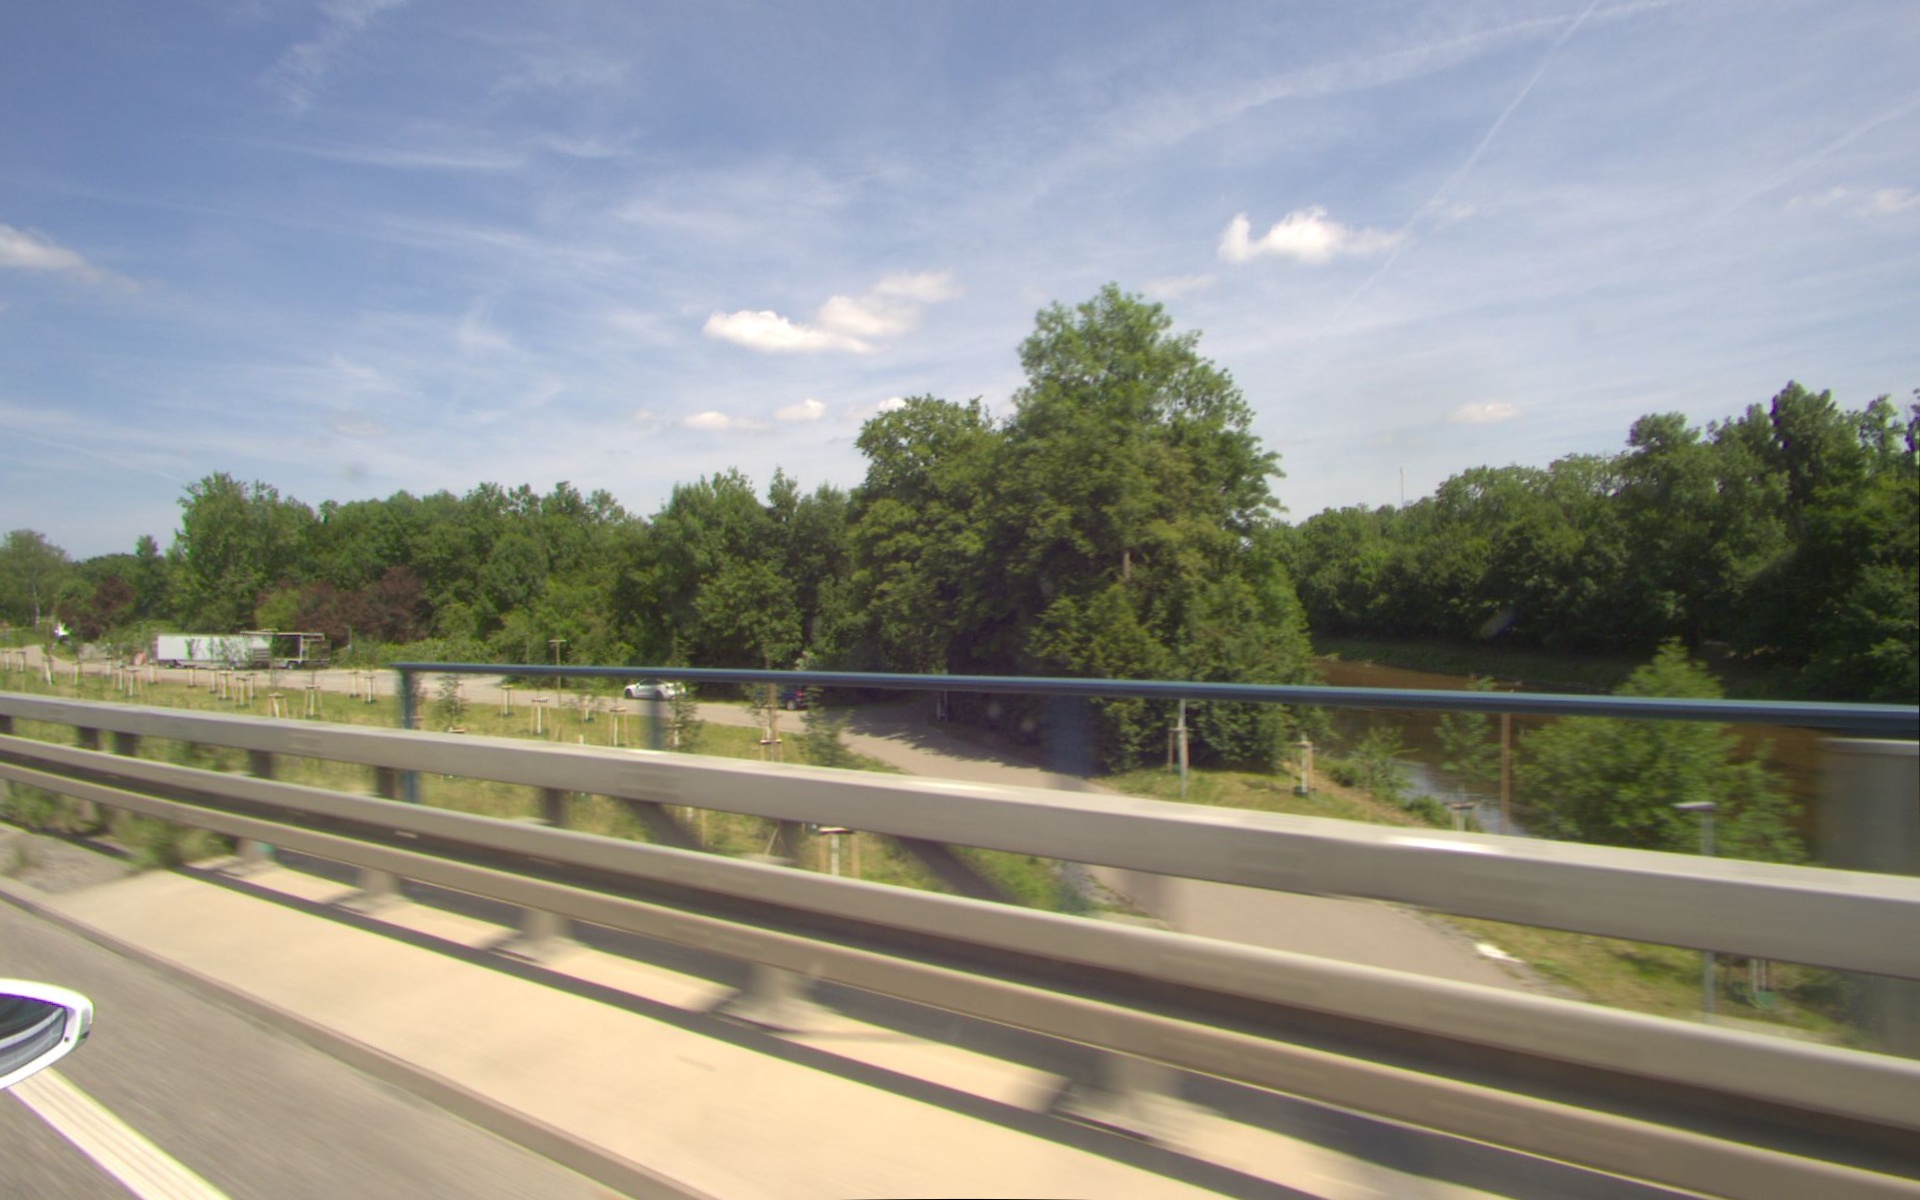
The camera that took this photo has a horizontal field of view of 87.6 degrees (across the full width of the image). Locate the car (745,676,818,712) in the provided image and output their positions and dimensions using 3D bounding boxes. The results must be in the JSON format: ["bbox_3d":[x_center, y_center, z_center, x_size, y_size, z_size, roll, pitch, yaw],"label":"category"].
[{"bbox_3d":[-10.748,5.622,60.107,4.140,1.706,1.852,1,3,33],"label":"car"}]

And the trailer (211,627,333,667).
[{"bbox_3d":[-68.162,4.616,99.171,11.672,3.652,2.727,0,-2,13],"label":"trailer"}]

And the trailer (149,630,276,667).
[{"bbox_3d":[-72.335,4.659,96.948,11.669,3.371,2.727,0,-1,11],"label":"trailer"}]

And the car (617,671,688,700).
[{"bbox_3d":[-20.252,5.620,65.899,4.539,1.503,1.853,0,3,31],"label":"car"}]
